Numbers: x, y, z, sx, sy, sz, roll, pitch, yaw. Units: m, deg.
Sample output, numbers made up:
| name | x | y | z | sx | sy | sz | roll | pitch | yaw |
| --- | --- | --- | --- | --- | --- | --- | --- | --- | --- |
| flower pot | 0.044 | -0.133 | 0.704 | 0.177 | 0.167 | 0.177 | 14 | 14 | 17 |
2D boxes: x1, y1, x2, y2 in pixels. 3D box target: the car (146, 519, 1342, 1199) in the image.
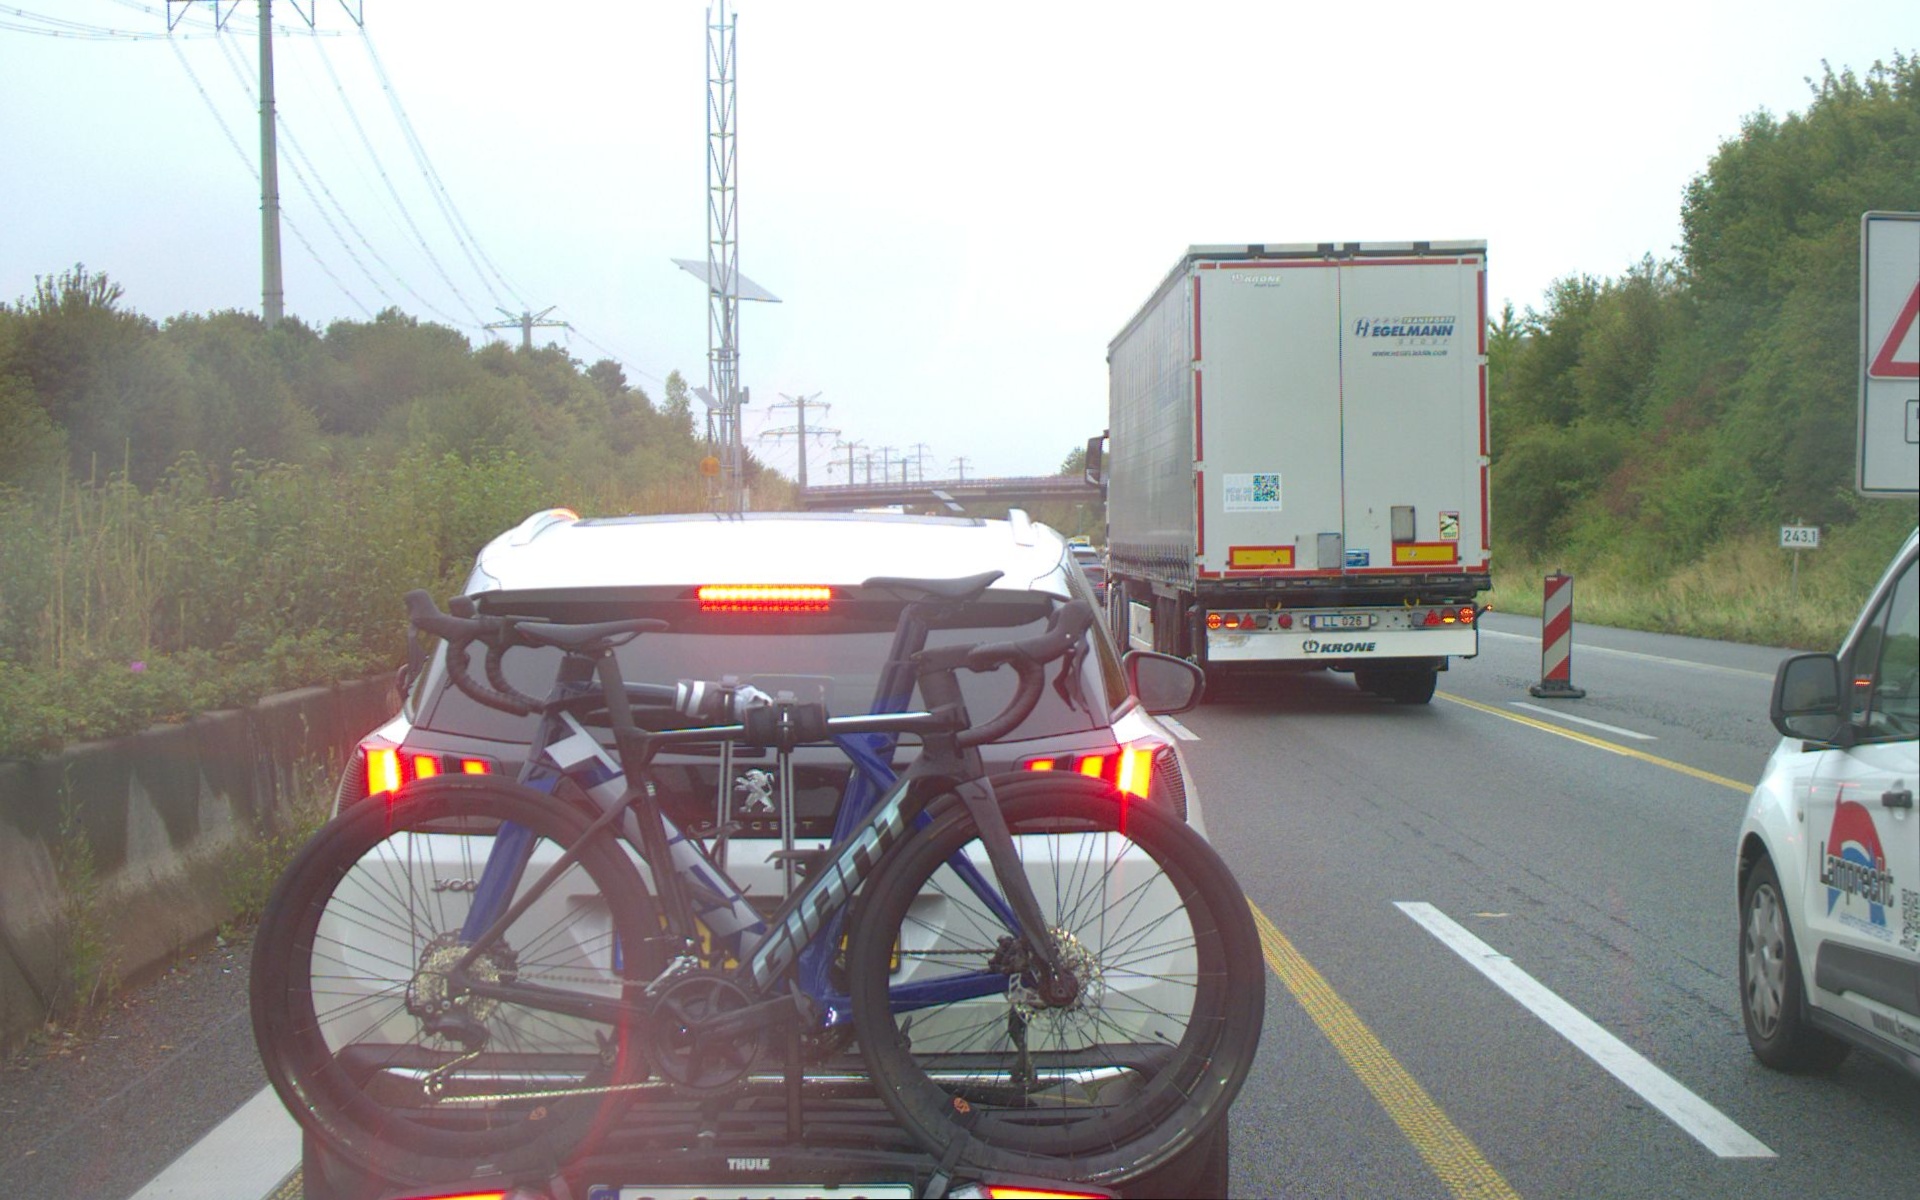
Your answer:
| name | x | y | z | sx | sy | sz | roll | pitch | yaw |
| --- | --- | --- | --- | --- | --- | --- | --- | --- | --- |
| car | -0.361 | 0.595 | 7.716 | 1.850 | 1.525 | 4.769 | 0 | 1 | -1 |

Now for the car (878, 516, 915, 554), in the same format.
| name | x | y | z | sx | sy | sz | roll | pitch | yaw |
| --- | --- | --- | --- | --- | --- | --- | --- | --- | --- |
| car | -3.368 | -3.471 | 183.130 | 1.931 | 1.904 | 4.001 | 0 | 2 | -1 |

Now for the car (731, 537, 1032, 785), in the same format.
| name | x | y | z | sx | sy | sz | roll | pitch | yaw |
| --- | --- | --- | --- | --- | --- | --- | --- | --- | --- |
| car | -0.507 | 0.339 | 23.161 | 1.850 | 1.525 | 4.000 | 0 | 1 | -1 |

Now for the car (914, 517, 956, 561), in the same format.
| name | x | y | z | sx | sy | sz | roll | pitch | yaw |
| --- | --- | --- | --- | --- | --- | --- | --- | --- | --- |
| car | -1.190 | -2.894 | 162.796 | 1.931 | 1.966 | 4.001 | 0 | 2 | -1 |

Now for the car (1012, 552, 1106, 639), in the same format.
| name | x | y | z | sx | sy | sz | roll | pitch | yaw |
| --- | --- | --- | --- | --- | --- | --- | --- | --- | --- |
| car | 2.369 | -0.136 | 83.209 | 2.110 | 1.966 | 4.001 | 0 | 2 | -1 |

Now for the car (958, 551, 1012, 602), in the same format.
| name | x | y | z | sx | sy | sz | roll | pitch | yaw |
| --- | --- | --- | --- | --- | --- | --- | --- | --- | --- |
| car | 1.018 | -0.972 | 140.912 | 2.148 | 1.966 | 4.001 | 0 | 2 | -1 |

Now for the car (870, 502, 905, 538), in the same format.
| name | x | y | z | sx | sy | sz | roll | pitch | yaw |
| --- | --- | --- | --- | --- | --- | --- | --- | --- | --- |
| car | -4.116 | -4.557 | 195.871 | 1.931 | 1.966 | 4.001 | 0 | 2 | -1 |

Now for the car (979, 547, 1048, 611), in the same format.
| name | x | y | z | sx | sy | sz | roll | pitch | yaw |
| --- | --- | --- | --- | --- | --- | --- | --- | --- | --- |
| car | 1.716 | -0.693 | 112.164 | 2.148 | 1.966 | 4.001 | 0 | 2 | -1 |

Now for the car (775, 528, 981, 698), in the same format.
| name | x | y | z | sx | sy | sz | roll | pitch | yaw |
| --- | --- | --- | --- | --- | --- | --- | --- | --- | --- |
| car | -0.756 | 0.080 | 32.894 | 1.850 | 1.525 | 4.000 | 0 | 1 | -1 |

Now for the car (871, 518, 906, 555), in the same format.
| name | x | y | z | sx | sy | sz | roll | pitch | yaw |
| --- | --- | --- | --- | --- | --- | --- | --- | --- | --- |
| car | -3.938 | -3.550 | 190.294 | 1.931 | 1.966 | 4.001 | 0 | 2 | -1 |

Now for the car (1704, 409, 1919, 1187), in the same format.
| name | x | y | z | sx | sy | sz | roll | pitch | yaw |
| --- | --- | --- | --- | --- | --- | --- | --- | --- | --- |
| car | 3.179 | 0.469 | 8.001 | 1.829 | 1.833 | 4.656 | 0 | 1 | -1 |

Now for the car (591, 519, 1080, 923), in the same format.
| name | x | y | z | sx | sy | sz | roll | pitch | yaw |
| --- | --- | --- | --- | --- | --- | --- | --- | --- | --- |
| car | -0.493 | 0.422 | 15.005 | 1.850 | 1.525 | 4.000 | 0 | 1 | -1 |

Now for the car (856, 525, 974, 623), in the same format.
| name | x | y | z | sx | sy | sz | roll | pitch | yaw |
| --- | --- | --- | --- | --- | --- | --- | --- | --- | --- |
| car | -0.725 | -0.445 | 55.728 | 1.850 | 1.525 | 4.000 | 0 | 1 | -1 |

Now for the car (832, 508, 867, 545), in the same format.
| name | x | y | z | sx | sy | sz | roll | pitch | yaw |
| --- | --- | --- | --- | --- | --- | --- | --- | --- | --- |
| car | -7.390 | -4.935 | 229.529 | 2.257 | 2.416 | 4.001 | 0 | 2 | -1 |

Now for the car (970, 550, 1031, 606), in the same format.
| name | x | y | z | sx | sy | sz | roll | pitch | yaw |
| --- | --- | --- | --- | --- | --- | --- | --- | --- | --- |
| car | 1.472 | -0.829 | 127.151 | 2.148 | 1.966 | 4.001 | 0 | 2 | -1 |

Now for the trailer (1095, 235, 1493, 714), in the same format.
| name | x | y | z | sx | sy | sz | roll | pitch | yaw |
| --- | --- | --- | --- | --- | --- | --- | --- | --- | --- |
| trailer | 3.107 | -1.192 | 36.035 | 2.692 | 4.062 | 13.634 | 0 | 1 | -1 |

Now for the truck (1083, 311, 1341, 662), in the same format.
| name | x | y | z | sx | sy | sz | roll | pitch | yaw |
| --- | --- | --- | --- | --- | --- | --- | --- | --- | --- |
| truck | 3.030 | -1.371 | 43.015 | 2.660 | 4.062 | 6.539 | 0 | 1 | -1 |
